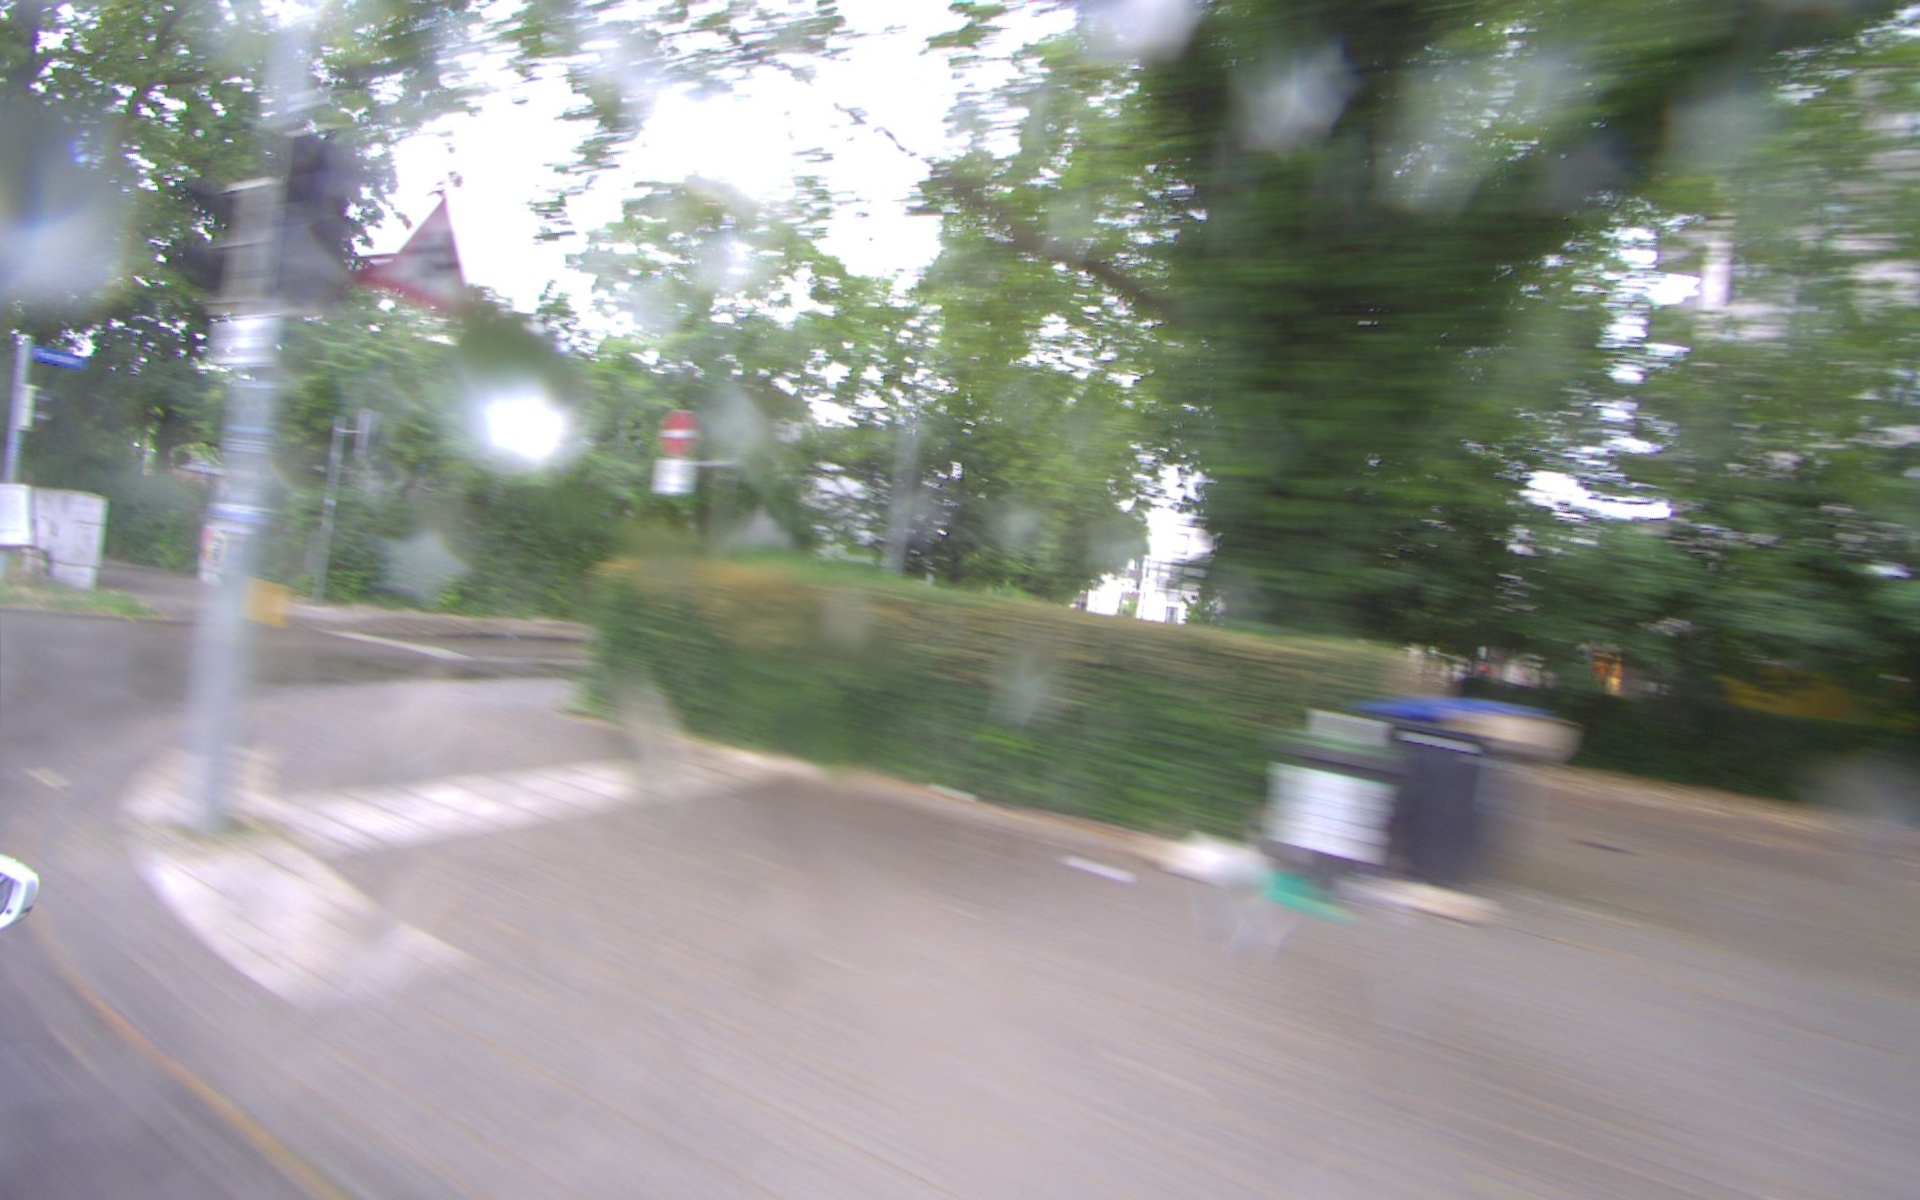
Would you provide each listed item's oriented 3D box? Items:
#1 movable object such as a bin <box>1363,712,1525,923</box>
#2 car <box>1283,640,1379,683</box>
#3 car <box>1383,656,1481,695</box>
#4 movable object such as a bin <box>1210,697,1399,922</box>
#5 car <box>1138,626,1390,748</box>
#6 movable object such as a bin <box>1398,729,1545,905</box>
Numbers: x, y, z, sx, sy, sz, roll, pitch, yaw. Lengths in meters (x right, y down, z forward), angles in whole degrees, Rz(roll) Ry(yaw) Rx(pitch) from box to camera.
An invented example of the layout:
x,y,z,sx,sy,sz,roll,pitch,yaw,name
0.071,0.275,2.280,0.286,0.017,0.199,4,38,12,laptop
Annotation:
x,y,z,sx,sy,sz,roll,pitch,yaw,name
2.874,1.249,5.972,0.726,1.035,0.536,7,3,30,movable object such as a bin
23.353,3.880,63.512,5.044,2.037,2.256,7,-1,-1,car
29.948,4.785,63.935,5.044,1.722,2.256,7,-1,-1,car
1.978,1.144,5.756,0.810,1.035,0.693,7,2,30,movable object such as a bin
5.394,1.501,17.902,3.930,1.558,1.759,6,-1,27,car
3.297,1.363,6.479,0.726,0.911,0.536,7,3,30,movable object such as a bin
